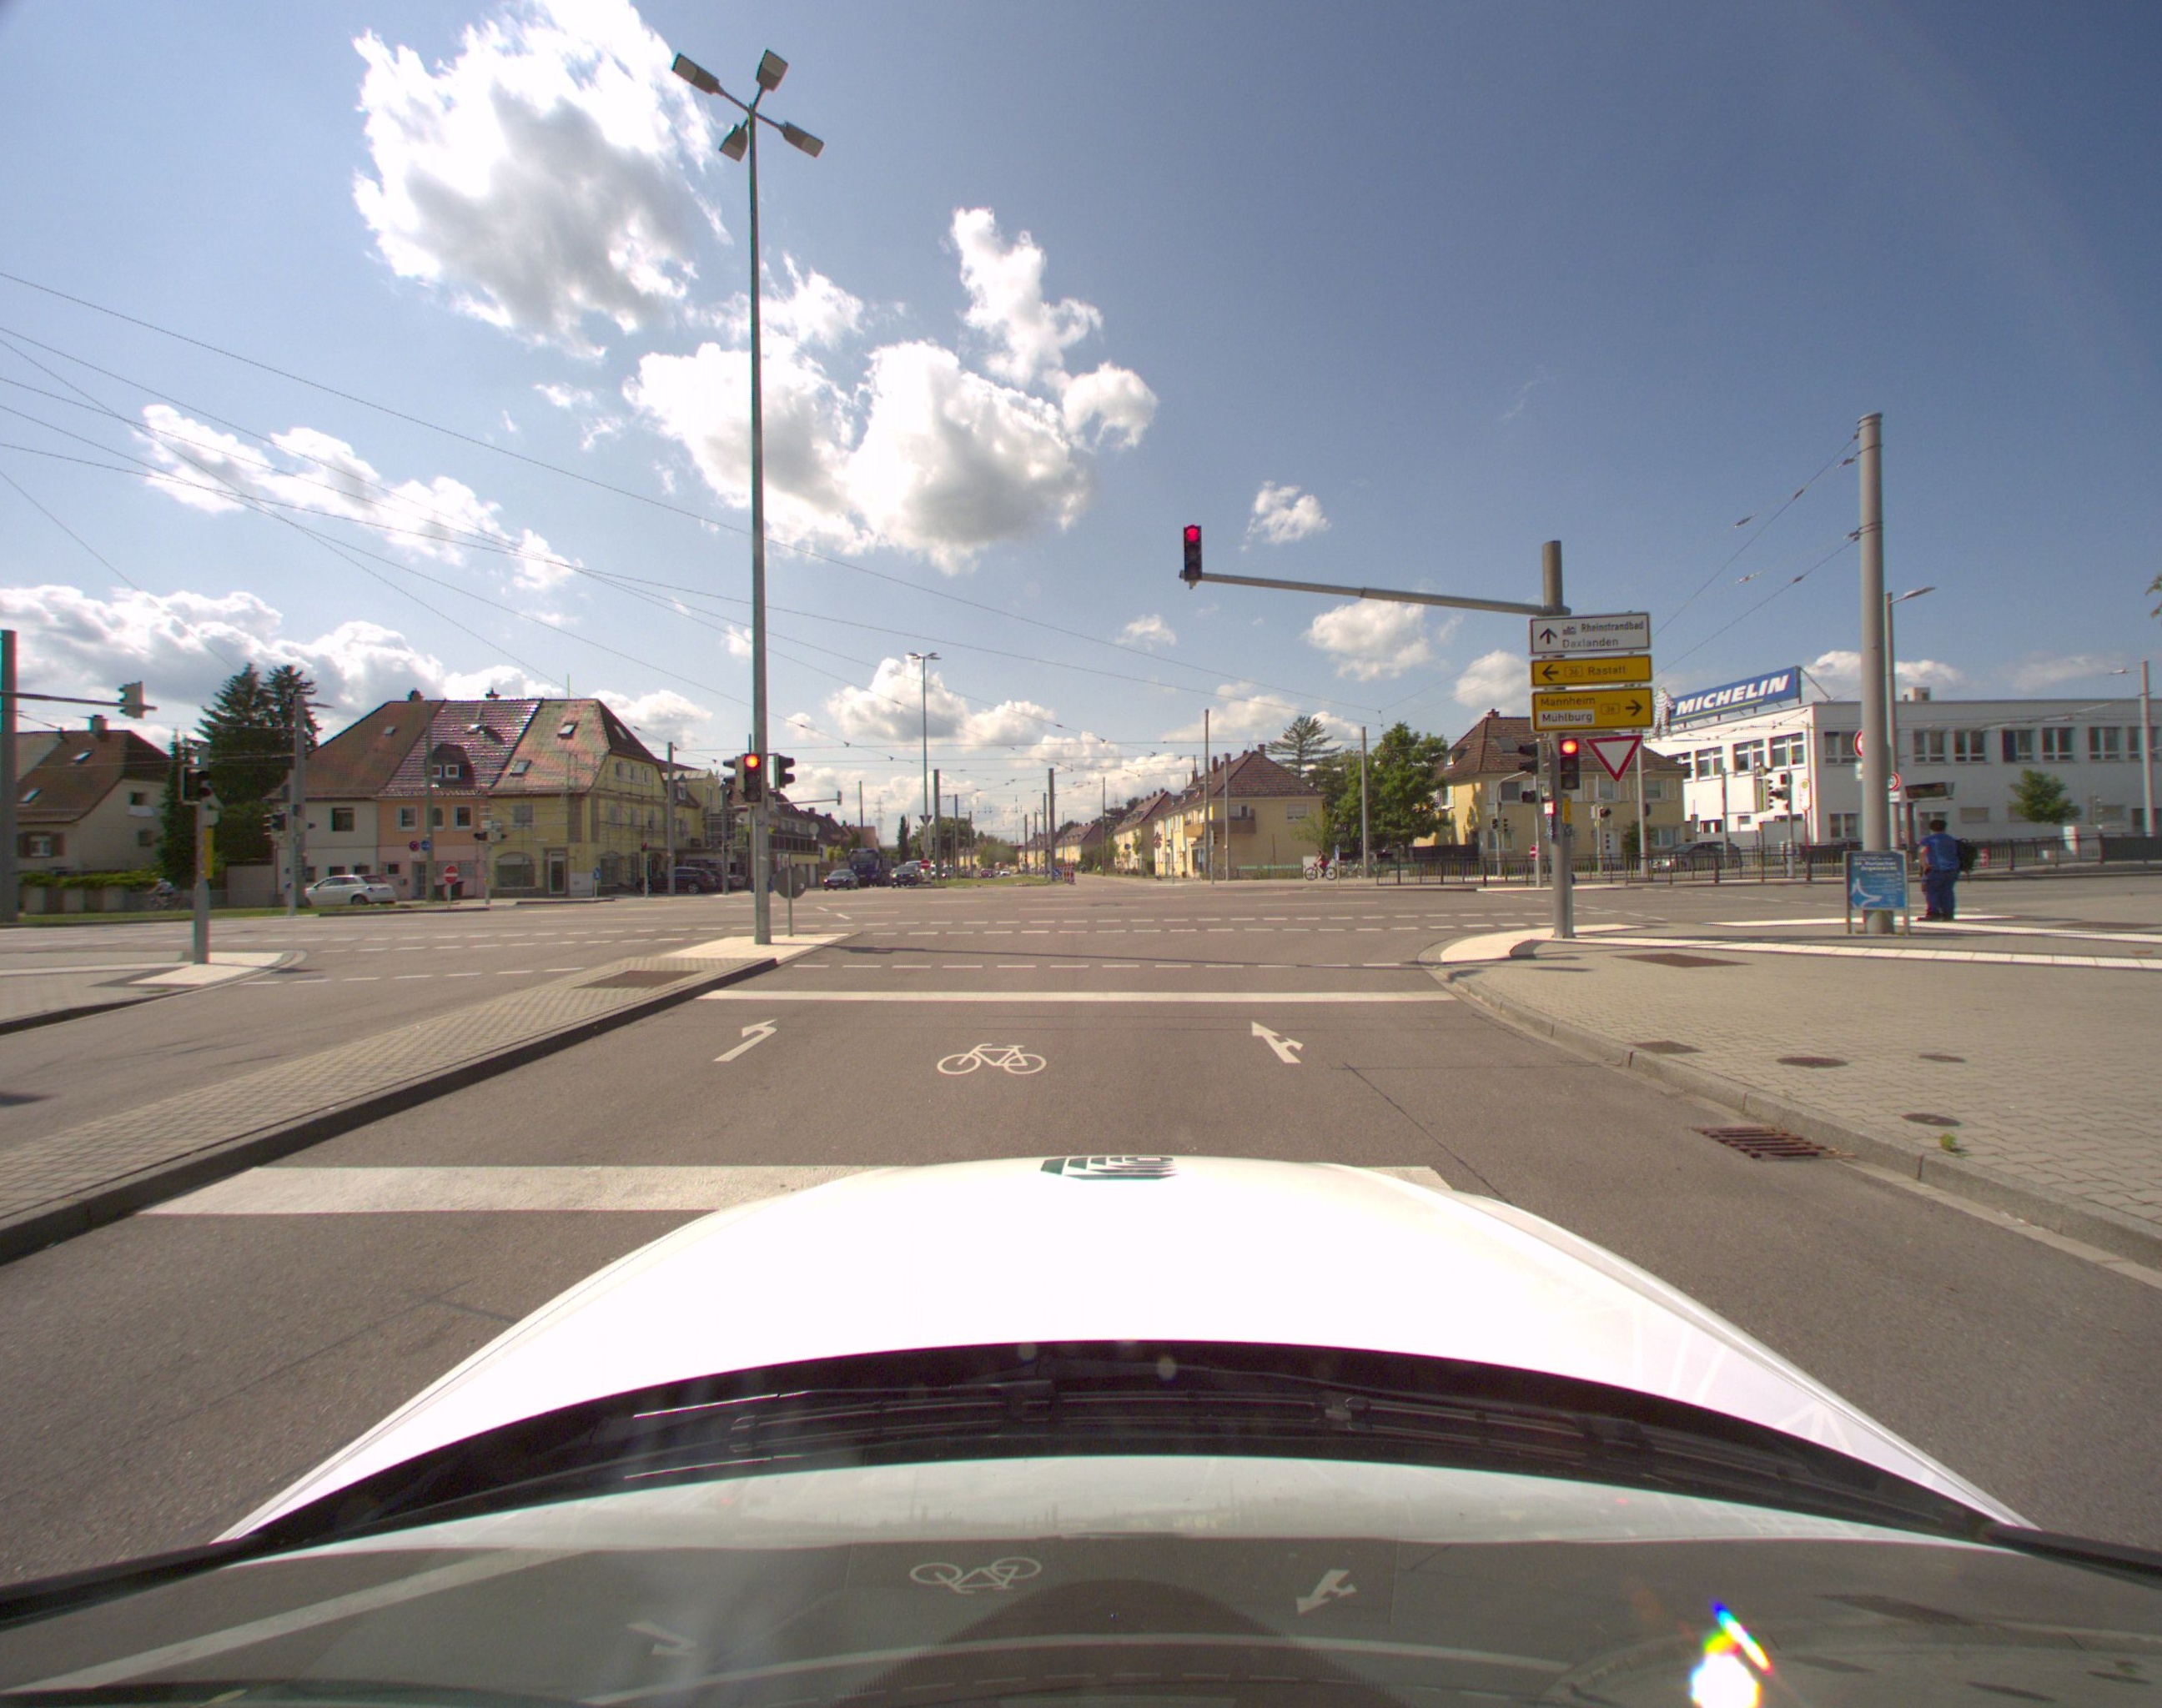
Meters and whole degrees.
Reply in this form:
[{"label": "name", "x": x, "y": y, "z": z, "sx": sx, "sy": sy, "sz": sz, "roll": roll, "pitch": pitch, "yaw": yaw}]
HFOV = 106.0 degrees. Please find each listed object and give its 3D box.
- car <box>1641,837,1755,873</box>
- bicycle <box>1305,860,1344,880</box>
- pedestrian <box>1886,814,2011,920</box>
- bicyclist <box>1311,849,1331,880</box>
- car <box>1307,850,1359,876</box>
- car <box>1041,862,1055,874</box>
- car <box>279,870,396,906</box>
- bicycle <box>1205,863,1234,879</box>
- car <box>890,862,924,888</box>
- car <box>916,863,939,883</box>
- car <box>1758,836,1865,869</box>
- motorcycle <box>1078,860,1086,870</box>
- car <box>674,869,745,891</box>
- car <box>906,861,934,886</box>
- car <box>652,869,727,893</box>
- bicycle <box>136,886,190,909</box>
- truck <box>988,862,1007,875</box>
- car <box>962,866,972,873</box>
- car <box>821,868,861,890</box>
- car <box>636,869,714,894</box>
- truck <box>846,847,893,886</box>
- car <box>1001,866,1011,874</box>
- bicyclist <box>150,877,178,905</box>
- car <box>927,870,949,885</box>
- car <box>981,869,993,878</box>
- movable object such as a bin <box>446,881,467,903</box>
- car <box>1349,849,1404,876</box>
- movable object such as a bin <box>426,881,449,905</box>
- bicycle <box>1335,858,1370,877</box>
[{"label": "car", "x": 28.962, "y": 0.061, "z": 38.313, "sx": 3.974, "sy": 1.568, "sz": 1.842, "roll": -2, "pitch": -1, "yaw": -1}, {"label": "bicycle", "x": 14.176, "y": 0.922, "z": 47.431, "sx": 2.016, "sy": 1.102, "sz": 0.716, "roll": -2, "pitch": -1, "yaw": 6}, {"label": "pedestrian", "x": 15.036, "y": 0.218, "z": 14.152, "sx": 1.027, "sy": 1.735, "sz": 1.040, "roll": -1, "pitch": 0, "yaw": -2}, {"label": "bicyclist", "x": 14.043, "y": 0.622, "z": 47.675, "sx": 0.952, "sy": 1.775, "sz": 0.721, "roll": -2, "pitch": -1, "yaw": 8}, {"label": "car", "x": 16.975, "y": 0.656, "z": 55.139, "sx": 1.821, "sy": 1.621, "sz": 3.989, "roll": -1, "pitch": -2, "yaw": -8}, {"label": "car", "x": -6.392, "y": 2.774, "z": 157.627, "sx": 2.064, "sy": 2.149, "sz": 4.865, "roll": -1, "pitch": -1, "yaw": -8}, {"label": "car", "x": -32.426, "y": 1.458, "z": 35.598, "sx": 3.533, "sy": 1.508, "sz": 1.583, "roll": 0, "pitch": -1, "yaw": -4}, {"label": "bicycle", "x": 9.424, "y": 1.175, "z": 55.542, "sx": 0.597, "sy": 1.096, "sz": 2.253, "roll": -1, "pitch": -1, "yaw": -32}, {"label": "car", "x": -12.779, "y": 1.503, "z": 60.012, "sx": 1.783, "sy": 1.720, "sz": 4.434, "roll": -1, "pitch": 0, "yaw": -5}, {"label": "car", "x": -13.978, "y": 1.735, "z": 74.335, "sx": 1.731, "sy": 1.782, "sz": 4.395, "roll": -2, "pitch": -1, "yaw": -6}, {"label": "car", "x": 34.918, "y": -0.068, "z": 38.965, "sx": 3.698, "sy": 1.446, "sz": 1.576, "roll": -2, "pitch": -1, "yaw": -1}, {"label": "motorcycle", "x": 0.174, "y": 1.843, "z": 132.239, "sx": 1.065, "sy": 1.635, "sz": 2.079, "roll": -1, "pitch": -1, "yaw": -6}, {"label": "car", "x": -25.393, "y": 1.792, "z": 55.761, "sx": 4.129, "sy": 1.493, "sz": 1.431, "roll": 0, "pitch": -1, "yaw": -7}, {"label": "car", "x": -13.105, "y": 1.540, "z": 66.440, "sx": 1.812, "sy": 1.922, "sz": 4.737, "roll": -1, "pitch": -1, "yaw": -6}, {"label": "car", "x": -25.449, "y": 1.735, "z": 53.050, "sx": 4.129, "sy": 1.493, "sz": 1.504, "roll": 0, "pitch": -1, "yaw": -7}, {"label": "bicycle", "x": -47.039, "y": 2.234, "z": 41.725, "sx": 1.894, "sy": 1.078, "sz": 0.694, "roll": -1, "pitch": 0, "yaw": -2}, {"label": "truck", "x": -22.417, "y": 3.912, "z": 218.299, "sx": 2.651, "sy": 3.494, "sz": 9.368, "roll": -1, "pitch": -1, "yaw": -21}, {"label": "car", "x": -33.730, "y": 4.544, "z": 240.370, "sx": 2.000, "sy": 1.910, "sz": 3.973, "roll": -1, "pitch": 0, "yaw": -20}, {"label": "car", "x": -17.237, "y": 1.790, "z": 58.635, "sx": 1.824, "sy": 1.487, "sz": 4.328, "roll": -1, "pitch": -1, "yaw": -3}, {"label": "car", "x": -25.087, "y": 1.713, "z": 50.363, "sx": 4.129, "sy": 1.493, "sz": 1.176, "roll": 0, "pitch": -1, "yaw": -7}, {"label": "truck", "x": -18.162, "y": 1.097, "z": 70.276, "sx": 2.765, "sy": 3.188, "sz": 7.565, "roll": -1, "pitch": -1, "yaw": -6}, {"label": "car", "x": -14.985, "y": 3.135, "z": 162.218, "sx": 1.840, "sy": 1.562, "sz": 4.180, "roll": -2, "pitch": -1, "yaw": -5}, {"label": "bicyclist", "x": -47.006, "y": 1.883, "z": 41.755, "sx": 0.720, "sy": 1.398, "sz": 0.577, "roll": -1, "pitch": 0, "yaw": -3}, {"label": "car", "x": -14.254, "y": 2.337, "z": 81.284, "sx": 1.912, "sy": 1.419, "sz": 3.991, "roll": -1, "pitch": -1, "yaw": -6}, {"label": "car", "x": -15.566, "y": 3.264, "z": 135.052, "sx": 1.840, "sy": 1.494, "sz": 4.847, "roll": -2, "pitch": -1, "yaw": -5}, {"label": "movable object such as a bin", "x": -35.349, "y": 2.147, "z": 46.100, "sx": 0.680, "sy": 1.260, "sz": 0.681, "roll": 0, "pitch": -1, "yaw": -2}, {"label": "car", "x": 19.765, "y": 0.586, "z": 54.709, "sx": 1.821, "sy": 1.621, "sz": 3.989, "roll": -1, "pitch": -2, "yaw": -8}, {"label": "movable object such as a bin", "x": -35.375, "y": 2.136, "z": 44.764, "sx": 0.680, "sy": 1.260, "sz": 0.681, "roll": 0, "pitch": -1, "yaw": -2}, {"label": "bicycle", "x": 16.080, "y": 0.793, "z": 48.229, "sx": 1.785, "sy": 1.105, "sz": 0.707, "roll": -2, "pitch": -1, "yaw": 41}]
